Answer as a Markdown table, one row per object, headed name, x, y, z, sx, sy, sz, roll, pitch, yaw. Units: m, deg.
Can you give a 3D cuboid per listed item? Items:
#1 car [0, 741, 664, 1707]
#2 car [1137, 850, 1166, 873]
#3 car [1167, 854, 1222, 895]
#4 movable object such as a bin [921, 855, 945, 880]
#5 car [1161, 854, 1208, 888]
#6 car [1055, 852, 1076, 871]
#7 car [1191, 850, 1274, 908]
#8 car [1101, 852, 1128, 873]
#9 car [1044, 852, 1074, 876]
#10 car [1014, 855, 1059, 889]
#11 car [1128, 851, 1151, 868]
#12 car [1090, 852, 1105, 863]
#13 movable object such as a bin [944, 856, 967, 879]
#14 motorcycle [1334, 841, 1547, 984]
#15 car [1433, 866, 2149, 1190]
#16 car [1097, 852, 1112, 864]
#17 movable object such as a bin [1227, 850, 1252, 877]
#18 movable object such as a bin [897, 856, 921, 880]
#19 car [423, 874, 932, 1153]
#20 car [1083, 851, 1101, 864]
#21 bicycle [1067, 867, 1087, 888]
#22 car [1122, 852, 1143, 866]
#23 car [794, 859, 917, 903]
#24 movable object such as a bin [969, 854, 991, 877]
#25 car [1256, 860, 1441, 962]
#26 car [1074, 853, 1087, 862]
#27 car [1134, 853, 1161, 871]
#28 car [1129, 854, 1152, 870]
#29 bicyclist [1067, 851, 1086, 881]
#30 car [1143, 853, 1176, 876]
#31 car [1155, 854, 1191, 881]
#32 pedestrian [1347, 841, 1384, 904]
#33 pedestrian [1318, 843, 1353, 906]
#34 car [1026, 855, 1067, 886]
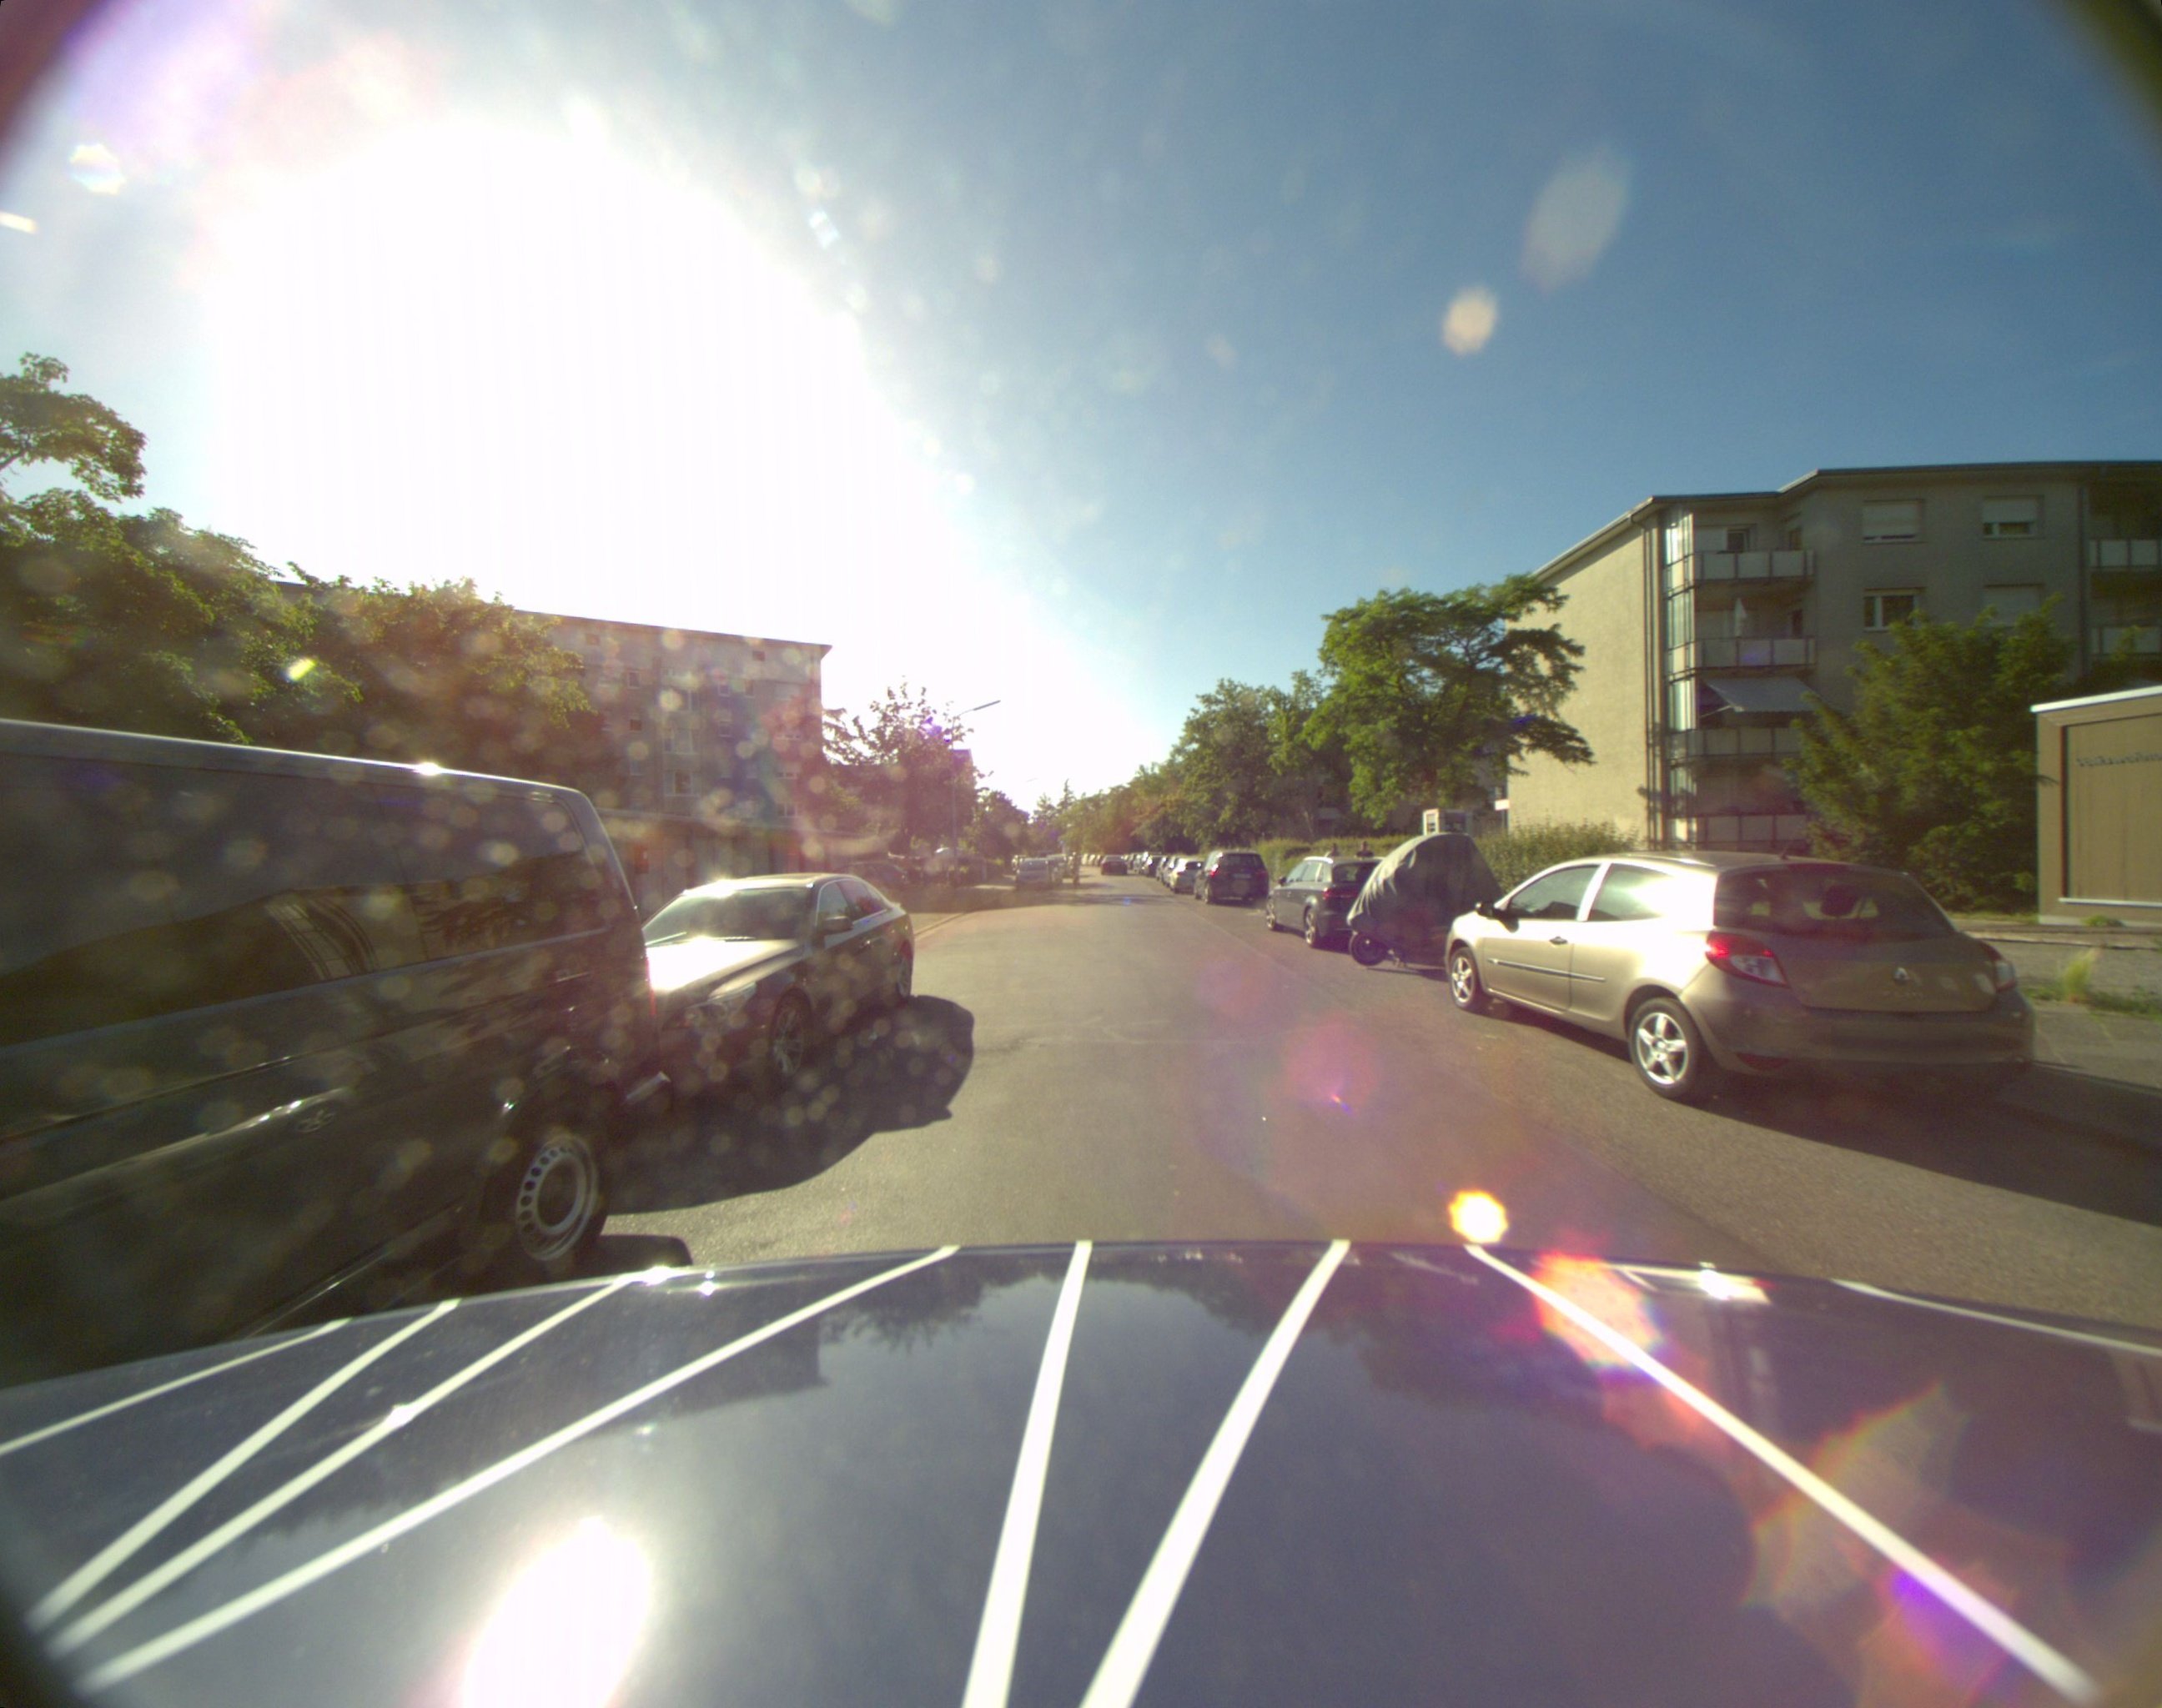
| name | x | y | z | sx | sy | sz | roll | pitch | yaw |
| --- | --- | --- | --- | --- | --- | --- | --- | --- | --- |
| car | -2.917 | 0.797 | 1.135 | 1.857 | 1.923 | 4.704 | -3 | 0 | 0 |
| car | 5.248 | 0.553 | 56.958 | 1.758 | 1.659 | 4.390 | 0 | 0 | 0 |
| car | 4.437 | 0.764 | 30.197 | 1.758 | 1.417 | 4.210 | 1 | 1 | 3 |
| movable object such as a bin | -9.468 | 0.830 | 48.583 | 1.328 | 1.528 | 1.029 | -2 | 1 | -5 |
| car | 4.827 | 0.757 | 36.033 | 1.758 | 1.481 | 4.902 | 1 | 0 | 3 |
| car | -1.400 | 0.655 | 68.299 | 1.759 | 1.664 | 4.412 | -2 | 0 | -2 |
| car | 4.582 | 0.700 | 23.561 | 1.758 | 1.626 | 4.370 | 1 | 0 | 1 |
| car | 2.476 | 0.630 | 56.847 | 1.915 | 1.468 | 4.570 | -1 | 0 | 1 |
| car | -1.510 | 0.686 | 54.422 | 1.758 | 1.617 | 4.495 | -2 | 0 | 2 |
| car | -2.123 | 0.856 | 37.148 | 1.808 | 1.486 | 3.795 | -2 | 0 | 2 |
| car | 5.666 | 0.521 | 74.016 | 1.811 | 1.596 | 4.432 | 0 | 0 | -1 |
| car | 2.371 | 0.546 | 111.791 | 1.658 | 1.621 | 3.688 | 0 | 0 | -7 |
| movable object such as a bin | -8.042 | 0.839 | 48.727 | 1.328 | 1.423 | 1.029 | -2 | 1 | -5 |
| motorcycle | 4.539 | 0.718 | 9.724 | 2.262 | 1.717 | 0.932 | 1 | 1 | -2 |
| car | 4.364 | 0.879 | 5.695 | 1.758 | 1.472 | 3.960 | 1 | 0 | 3 |
| car | 3.248 | 0.529 | 105.559 | 1.658 | 1.621 | 4.070 | 0 | 0 | -5 |
| movable object such as a bin | 8.815 | 0.498 | 42.355 | 1.004 | 1.407 | 1.326 | -4 | 1 | -1 |
| movable object such as a bin | -10.965 | 0.875 | 48.394 | 1.325 | 1.472 | 1.029 | -2 | 1 | -5 |
| car | -2.811 | 1.002 | 6.738 | 1.805 | 1.410 | 4.636 | -2 | 0 | 3 |
| car | 1.737 | 0.501 | 117.499 | 1.886 | 1.857 | 5.435 | 0 | 0 | -9 |
| bicycle | -0.185 | 1.078 | 35.956 | 0.824 | 0.896 | 2.203 | -2 | 0 | 2 |
| car | 5.469 | 0.557 | 81.021 | 1.811 | 1.470 | 3.940 | 0 | 0 | -1 |
| car | -8.658 | 1.000 | 29.420 | 4.193 | 1.486 | 1.817 | -2 | 0 | -2 |
| movable object such as a bin | -6.463 | 0.740 | 48.762 | 1.328 | 1.419 | 1.069 | 1 | 0 | -5 |
| car | 4.382 | 0.844 | 13.172 | 1.758 | 1.412 | 4.269 | 1 | 0 | 1 |
| car | -0.088 | 0.567 | 128.759 | 1.659 | 1.558 | 3.687 | 0 | 0 | -10 |
| car | 5.418 | 0.641 | 62.401 | 1.642 | 1.377 | 4.170 | 0 | 0 | -2 |
| car | 5.301 | 0.679 | 68.261 | 1.758 | 1.428 | 4.150 | 0 | 0 | 0 |
| bicyclist | -0.210 | 0.552 | 35.788 | 0.812 | 1.348 | 1.091 | -2 | 1 | 3 |
| car | 5.240 | 0.675 | 51.239 | 1.758 | 1.377 | 4.673 | 0 | 1 | 0 |
| car | 5.226 | 0.759 | 43.621 | 1.652 | 1.455 | 3.495 | 0 | 0 | 0 |
| pedestrian | 7.749 | 0.491 | 20.712 | 0.722 | 1.669 | 0.600 | -2 | 1 | 1 |
| pedestrian | 6.950 | 0.542 | 20.778 | 0.722 | 1.669 | 0.616 | -2 | 1 | 1 |
| car | -1.867 | 0.853 | 42.261 | 1.835 | 1.537 | 4.641 | -2 | 0 | 2 |
